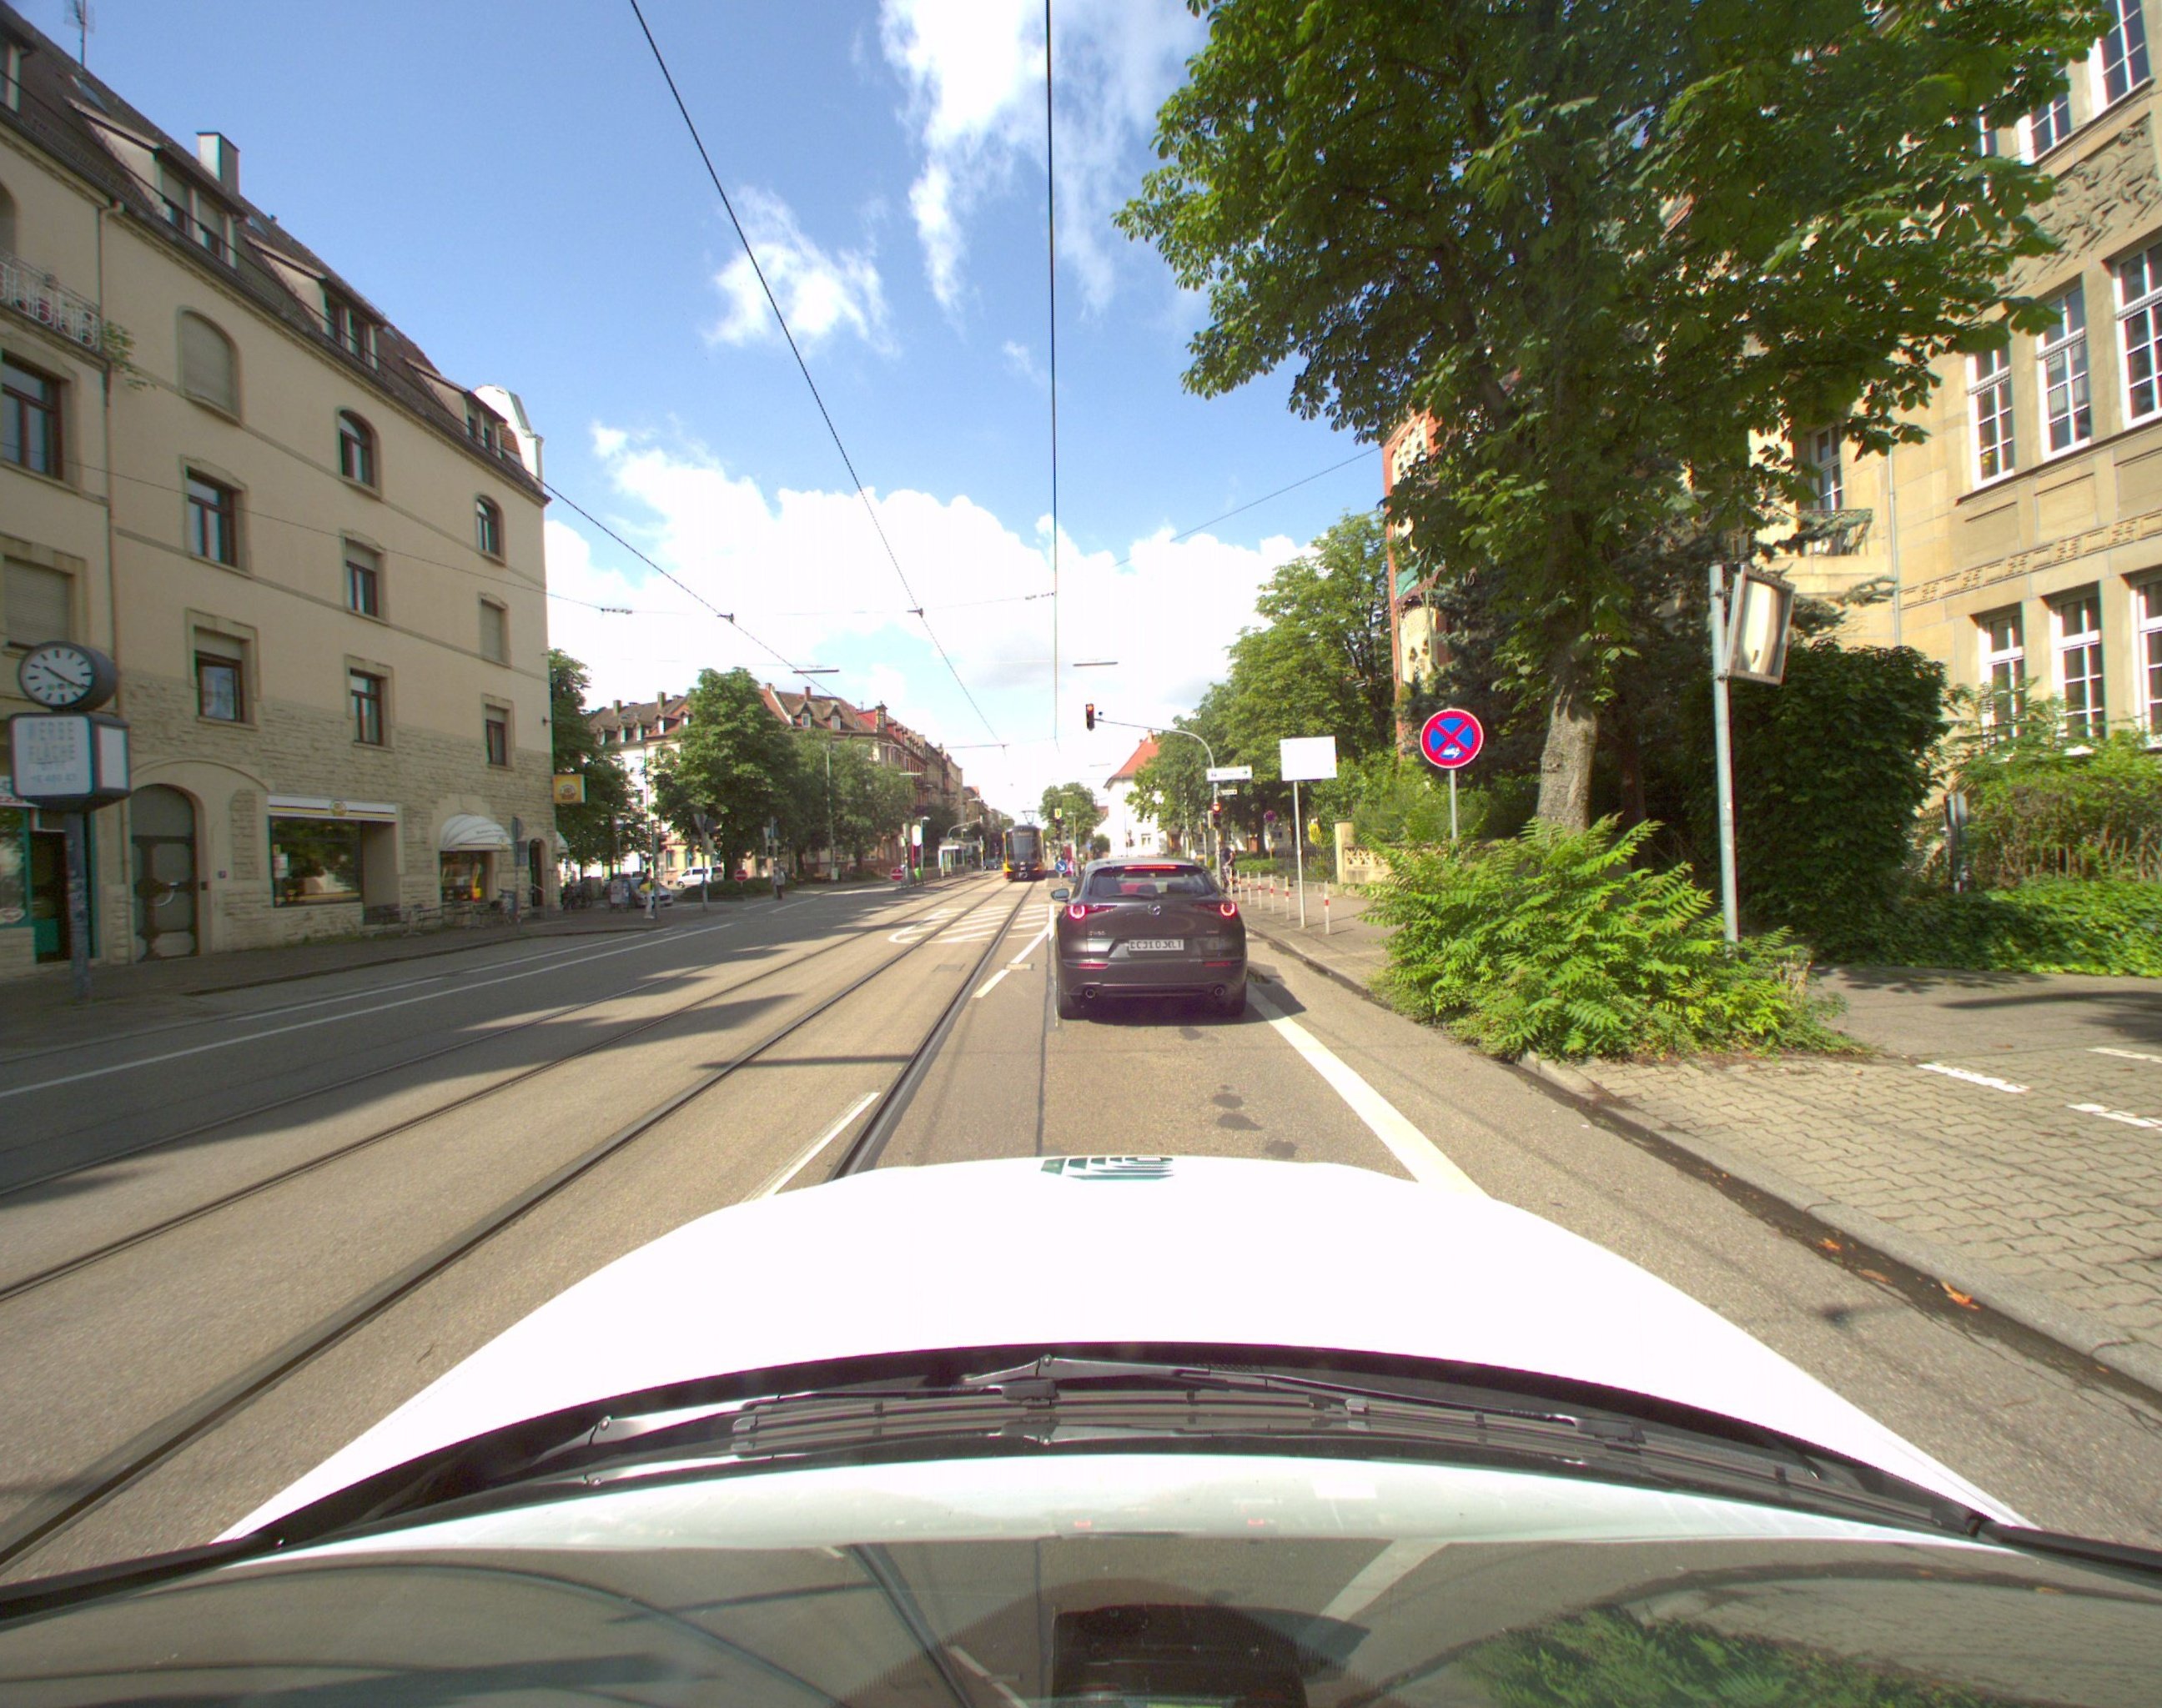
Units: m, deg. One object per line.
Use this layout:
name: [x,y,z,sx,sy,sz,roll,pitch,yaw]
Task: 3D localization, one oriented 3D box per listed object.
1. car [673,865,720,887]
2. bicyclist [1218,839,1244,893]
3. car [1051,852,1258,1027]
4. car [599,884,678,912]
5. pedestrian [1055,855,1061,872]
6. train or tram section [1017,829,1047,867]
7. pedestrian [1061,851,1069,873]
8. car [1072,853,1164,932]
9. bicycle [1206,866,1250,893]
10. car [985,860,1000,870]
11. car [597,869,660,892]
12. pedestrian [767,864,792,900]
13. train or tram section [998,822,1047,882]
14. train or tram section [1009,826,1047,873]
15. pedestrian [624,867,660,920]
car: [-37.311,2.165,79.065,3.950,1.903,2.012,-3,0,26]
bicyclist: [5.151,0.412,27.987,0.608,1.793,0.656,-2,0,-8]
car: [0.682,0.742,9.056,1.772,1.499,4.001,-1,0,1]
car: [-21.098,2.095,38.773,3.948,1.182,1.689,-3,0,35]
pedestrian: [-1.485,0.609,52.447,0.379,1.071,0.474,-3,0,-3]
train or tram section: [-4.949,-0.665,84.432,2.746,3.490,14.395,-3,1,-2]
pedestrian: [-1.059,0.525,52.510,0.449,1.434,0.474,-3,0,-3]
car: [0.759,0.733,17.679,1.772,1.499,4.001,-1,0,1]
bicycle: [5.122,0.888,28.384,1.708,0.824,0.488,-2,0,-40]
car: [-11.587,1.426,106.674,1.610,1.310,3.625,-3,0,-2]
car: [-37.362,2.171,67.321,3.972,1.596,2.001,-3,0,1]
pedestrian: [-15.039,1.393,40.634,0.817,1.705,0.720,-3,0,7]
train or tram section: [-3.800,-0.225,55.701,2.746,3.490,14.395,-3,1,-2]
train or tram section: [-4.379,-0.443,70.061,2.746,3.490,14.395,-3,1,-2]
pedestrian: [-14.890,1.326,27.627,0.679,1.754,0.803,-3,0,7]
